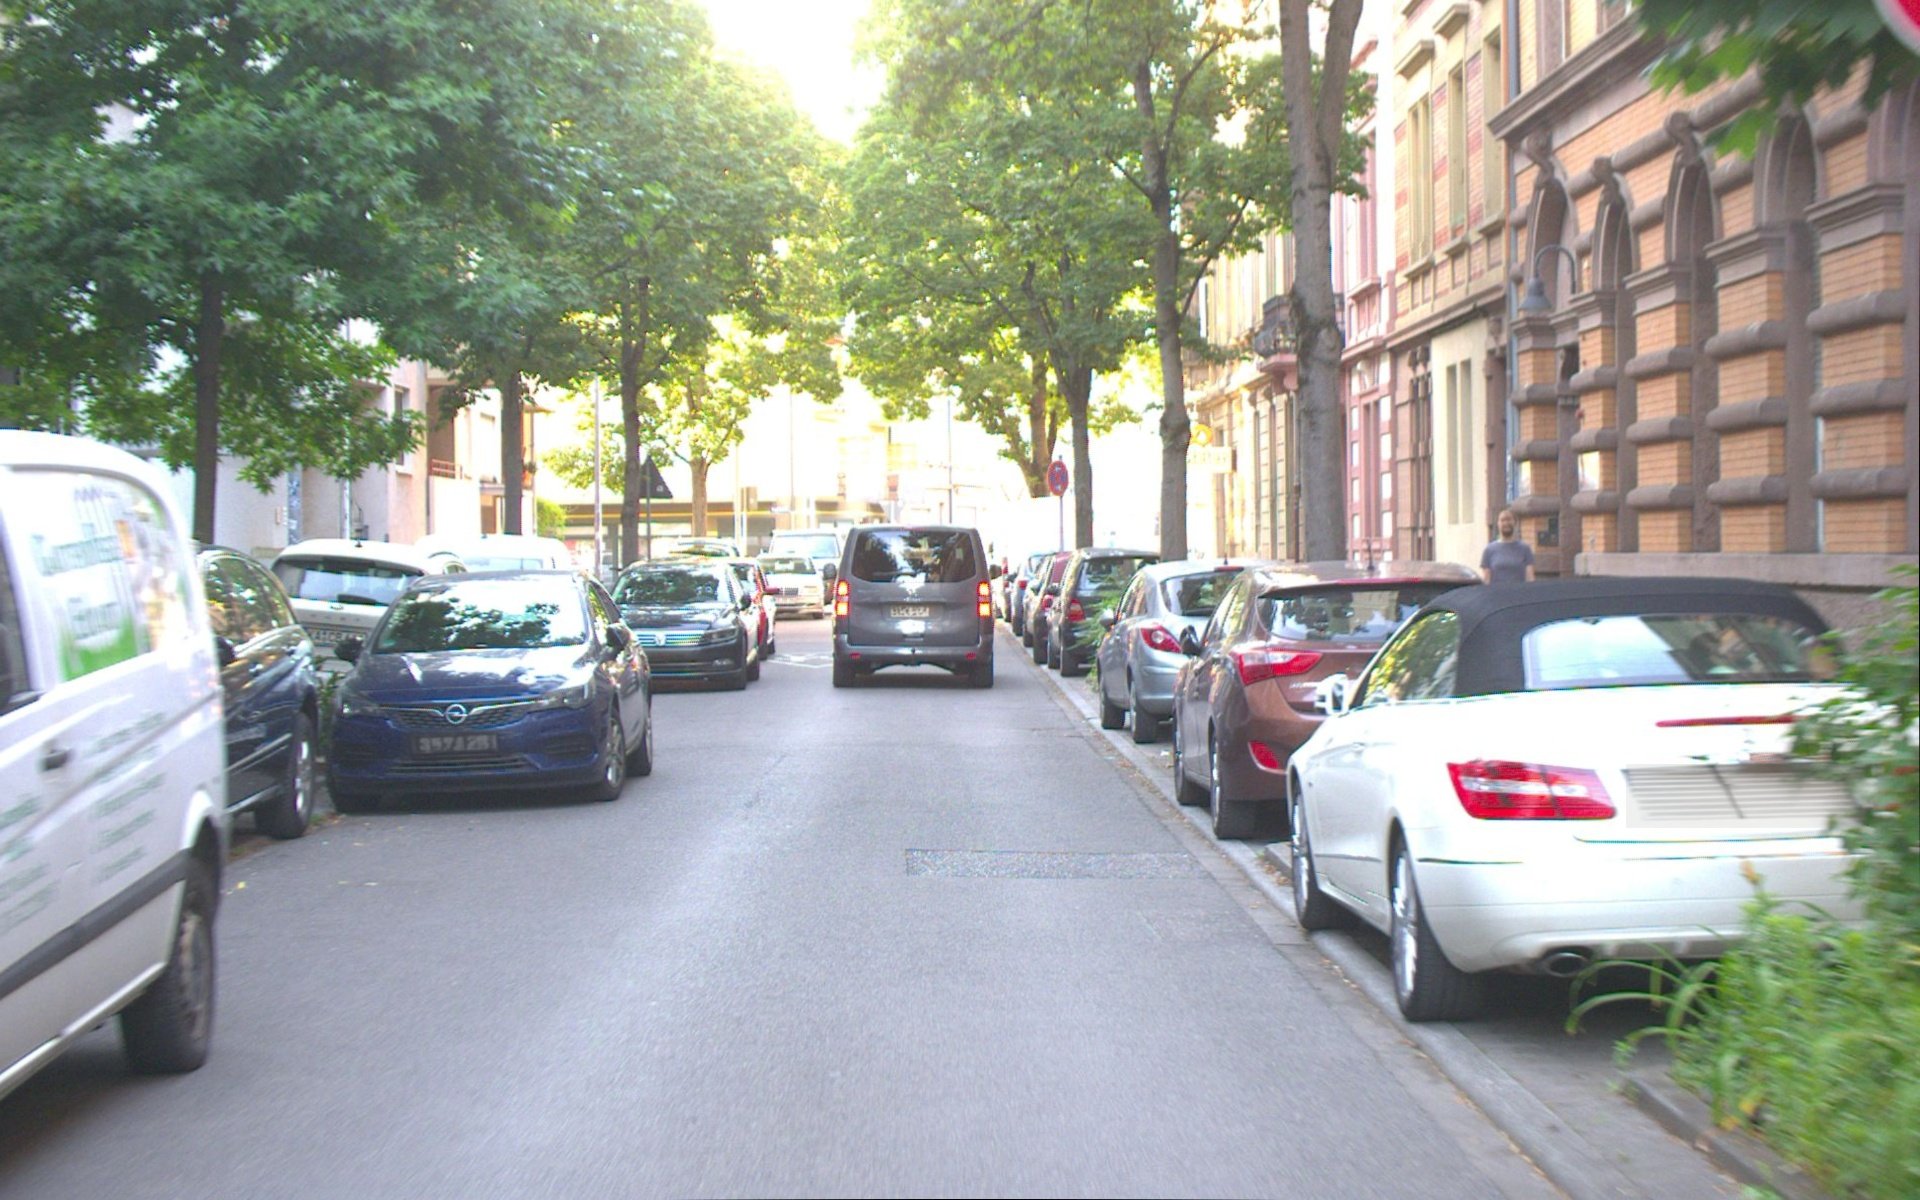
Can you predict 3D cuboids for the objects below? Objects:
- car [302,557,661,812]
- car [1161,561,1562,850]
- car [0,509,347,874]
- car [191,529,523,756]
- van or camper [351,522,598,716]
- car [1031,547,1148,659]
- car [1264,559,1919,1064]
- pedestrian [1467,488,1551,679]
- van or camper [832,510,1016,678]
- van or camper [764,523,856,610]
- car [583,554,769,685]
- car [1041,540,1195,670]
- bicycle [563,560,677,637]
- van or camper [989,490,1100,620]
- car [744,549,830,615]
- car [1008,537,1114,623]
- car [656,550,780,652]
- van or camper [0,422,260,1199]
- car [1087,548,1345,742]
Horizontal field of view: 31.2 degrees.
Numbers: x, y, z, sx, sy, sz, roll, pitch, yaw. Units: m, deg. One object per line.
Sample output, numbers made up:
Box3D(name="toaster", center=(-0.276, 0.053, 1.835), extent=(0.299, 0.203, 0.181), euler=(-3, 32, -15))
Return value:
Box3D(name="car", center=(-3.050, 0.479, 22.760), extent=(1.830, 1.512, 4.516), euler=(0, 1, -1))
Box3D(name="car", center=(2.164, 0.517, 19.577), extent=(1.722, 1.445, 4.215), euler=(-1, 1, -1))
Box3D(name="car", center=(-4.655, 0.360, 18.094), extent=(1.993, 1.641, 4.922), euler=(2, 1, -1))
Box3D(name="car", center=(-5.000, 0.282, 29.160), extent=(2.034, 1.666, 4.649), euler=(3, 1, -2))
Box3D(name="van or camper", center=(-4.868, 0.136, 35.077), extent=(1.931, 1.754, 4.466), euler=(3, 1, -2))
Box3D(name="car", center=(1.809, 0.012, 47.786), extent=(1.551, 1.491, 3.610), euler=(0, 1, 2))
Box3D(name="car", center=(2.188, 0.581, 12.240), extent=(1.693, 1.396, 4.646), euler=(-1, 1, -1))
Box3D(name="pedestrian", center=(4.795, -0.148, 30.040), extent=(0.627, 1.643, 0.532), euler=(0, 1, 0))
Box3D(name="van or camper", center=(-0.374, -0.103, 40.916), extent=(2.035, 1.891, 4.271), euler=(0, 1, 1))
Box3D(name="van or camper", center=(-3.482, -0.794, 80.474), extent=(1.862, 1.976, 4.271), euler=(-1, 1, 1))
Box3D(name="car", center=(-3.306, 0.187, 40.779), extent=(1.846, 1.446, 4.503), euler=(0, 1, 0))
Box3D(name="car", center=(1.961, 0.027, 43.488), extent=(1.611, 1.553, 3.766), euler=(-1, 1, -2))
Box3D(name="bicycle", center=(-5.473, -0.023, 55.351), extent=(0.605, 1.191, 1.824), euler=(3, 2, 45))
Box3D(name="van or camper", center=(1.709, -0.938, 71.486), extent=(1.993, 2.590, 5.425), euler=(0, 1, -2))
Box3D(name="car", center=(-3.766, -0.412, 75.375), extent=(1.741, 1.399, 3.375), euler=(-1, 1, -1))
Box3D(name="car", center=(1.757, -0.369, 60.512), extent=(1.750, 1.466, 3.776), euler=(0, 1, 0))
Box3D(name="car", center=(-3.500, -0.015, 50.216), extent=(1.630, 1.425, 3.543), euler=(-1, 1, -2))
Box3D(name="van or camper", center=(-3.095, 0.515, 8.589), extent=(1.876, 1.836, 4.753), euler=(-1, 1, -2))
Box3D(name="car", center=(2.123, 0.329, 29.481), extent=(1.697, 1.477, 4.001), euler=(-2, 1, -3))
